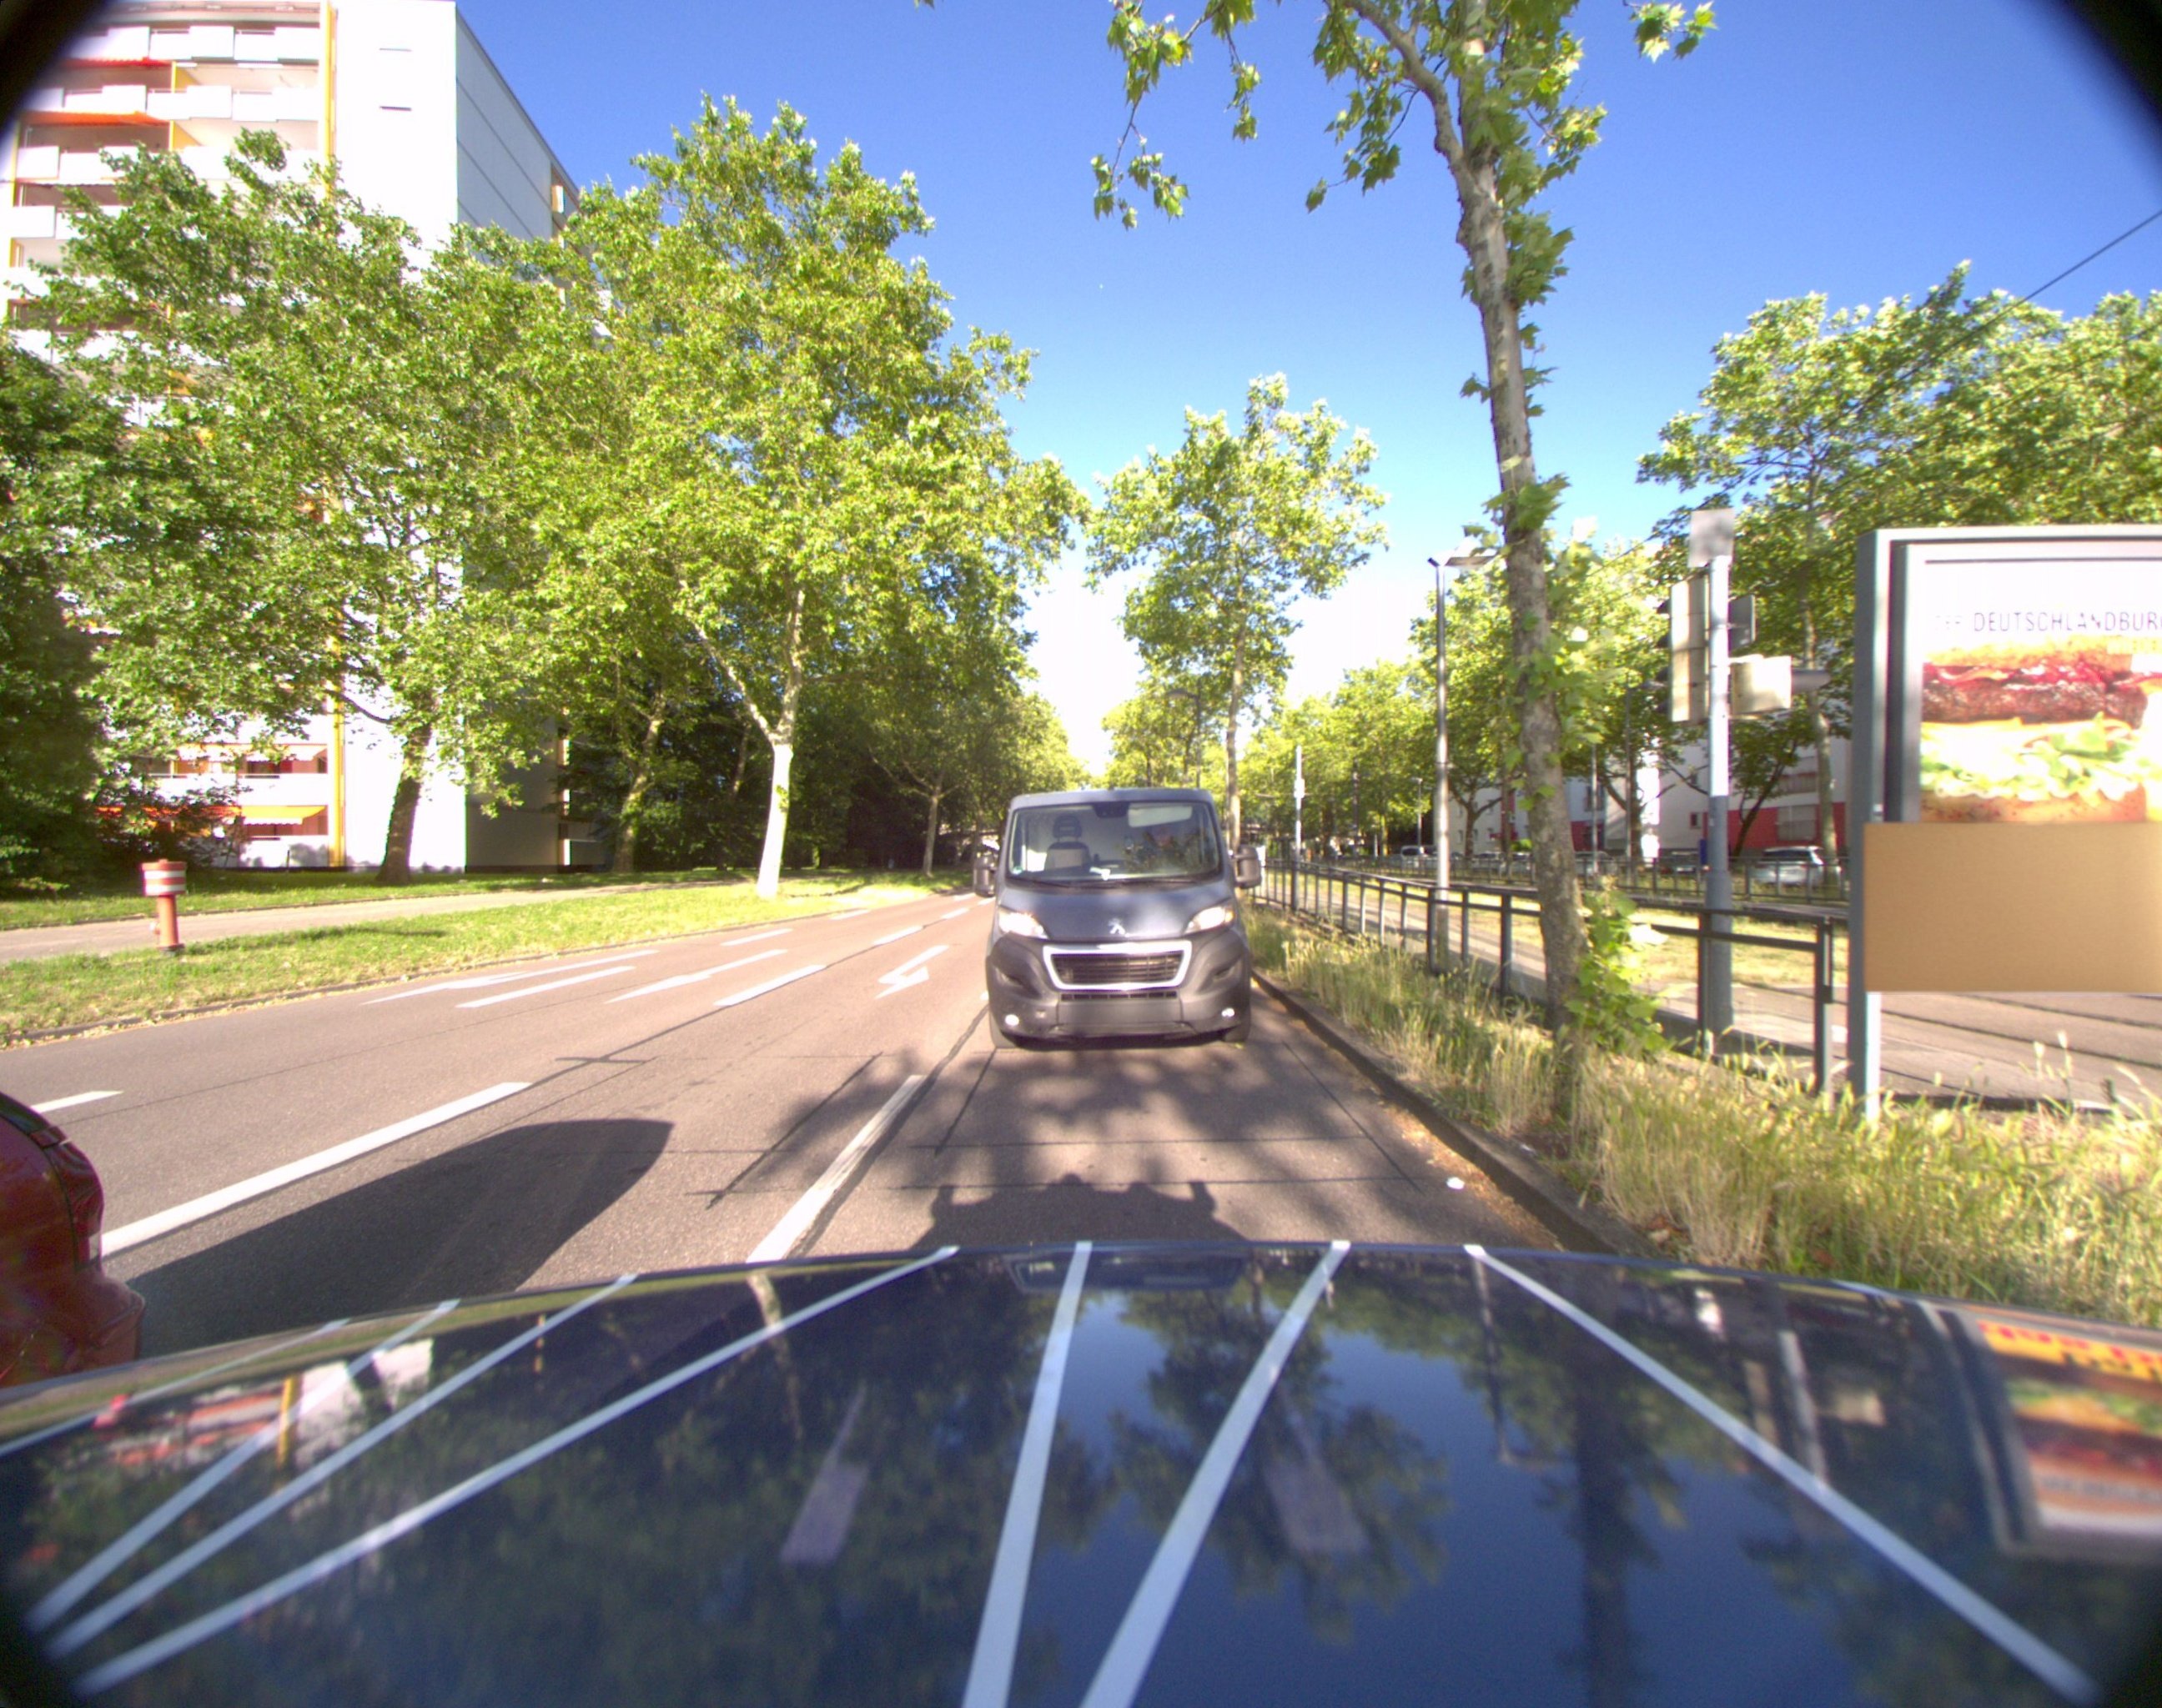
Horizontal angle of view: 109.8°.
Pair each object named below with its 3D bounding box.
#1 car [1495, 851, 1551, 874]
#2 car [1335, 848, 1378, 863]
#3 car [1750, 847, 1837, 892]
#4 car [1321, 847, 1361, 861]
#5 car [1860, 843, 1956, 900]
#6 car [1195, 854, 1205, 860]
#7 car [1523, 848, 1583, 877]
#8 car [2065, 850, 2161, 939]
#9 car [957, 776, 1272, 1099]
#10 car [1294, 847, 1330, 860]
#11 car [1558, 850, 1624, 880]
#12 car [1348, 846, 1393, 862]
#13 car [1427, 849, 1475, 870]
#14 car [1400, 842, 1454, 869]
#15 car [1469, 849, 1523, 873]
[{"bbox_3d":[26.191,0.493,44.956,3.689,1.234,1.645,-1,1,-39],"label":"car"},{"bbox_3d":[26.578,0.111,73.273,4.376,1.367,1.919,-1,1,-39],"label":"car"},{"bbox_3d":[25.048,0.504,26.681,3.689,1.425,1.683,-1,1,-38],"label":"car"},{"bbox_3d":[27.232,0.037,79.570,4.376,1.367,1.919,-1,1,-39],"label":"car"},{"bbox_3d":[25.010,0.472,22.956,3.689,1.558,1.683,-1,1,-38],"label":"car"},{"bbox_3d":[25.510,0.594,163.039,1.672,1.351,3.295,-1,0,1],"label":"car"},{"bbox_3d":[25.802,0.440,41.513,3.689,1.440,1.645,-1,1,-39],"label":"car"},{"bbox_3d":[18.533,0.655,11.689,1.826,1.412,3.756,-1,0,-5],"label":"car"},{"bbox_3d":[0.257,0.544,7.614,2.040,2.102,5.113,-1,0,1],"label":"car"},{"bbox_3d":[27.190,-0.047,89.424,4.376,1.367,1.919,-1,1,-39],"label":"car"},{"bbox_3d":[25.321,0.511,37.686,3.689,1.384,1.645,-1,1,-38],"label":"car"},{"bbox_3d":[26.771,0.003,70.304,4.376,1.367,1.919,-1,1,-39],"label":"car"},{"bbox_3d":[26.236,0.359,53.894,3.689,1.388,1.645,-1,1,-39],"label":"car"},{"bbox_3d":[25.951,0.096,56.987,4.376,1.873,1.919,-1,1,-39],"label":"car"},{"bbox_3d":[25.948,0.426,47.490,3.689,1.440,1.645,-1,1,-39],"label":"car"}]
